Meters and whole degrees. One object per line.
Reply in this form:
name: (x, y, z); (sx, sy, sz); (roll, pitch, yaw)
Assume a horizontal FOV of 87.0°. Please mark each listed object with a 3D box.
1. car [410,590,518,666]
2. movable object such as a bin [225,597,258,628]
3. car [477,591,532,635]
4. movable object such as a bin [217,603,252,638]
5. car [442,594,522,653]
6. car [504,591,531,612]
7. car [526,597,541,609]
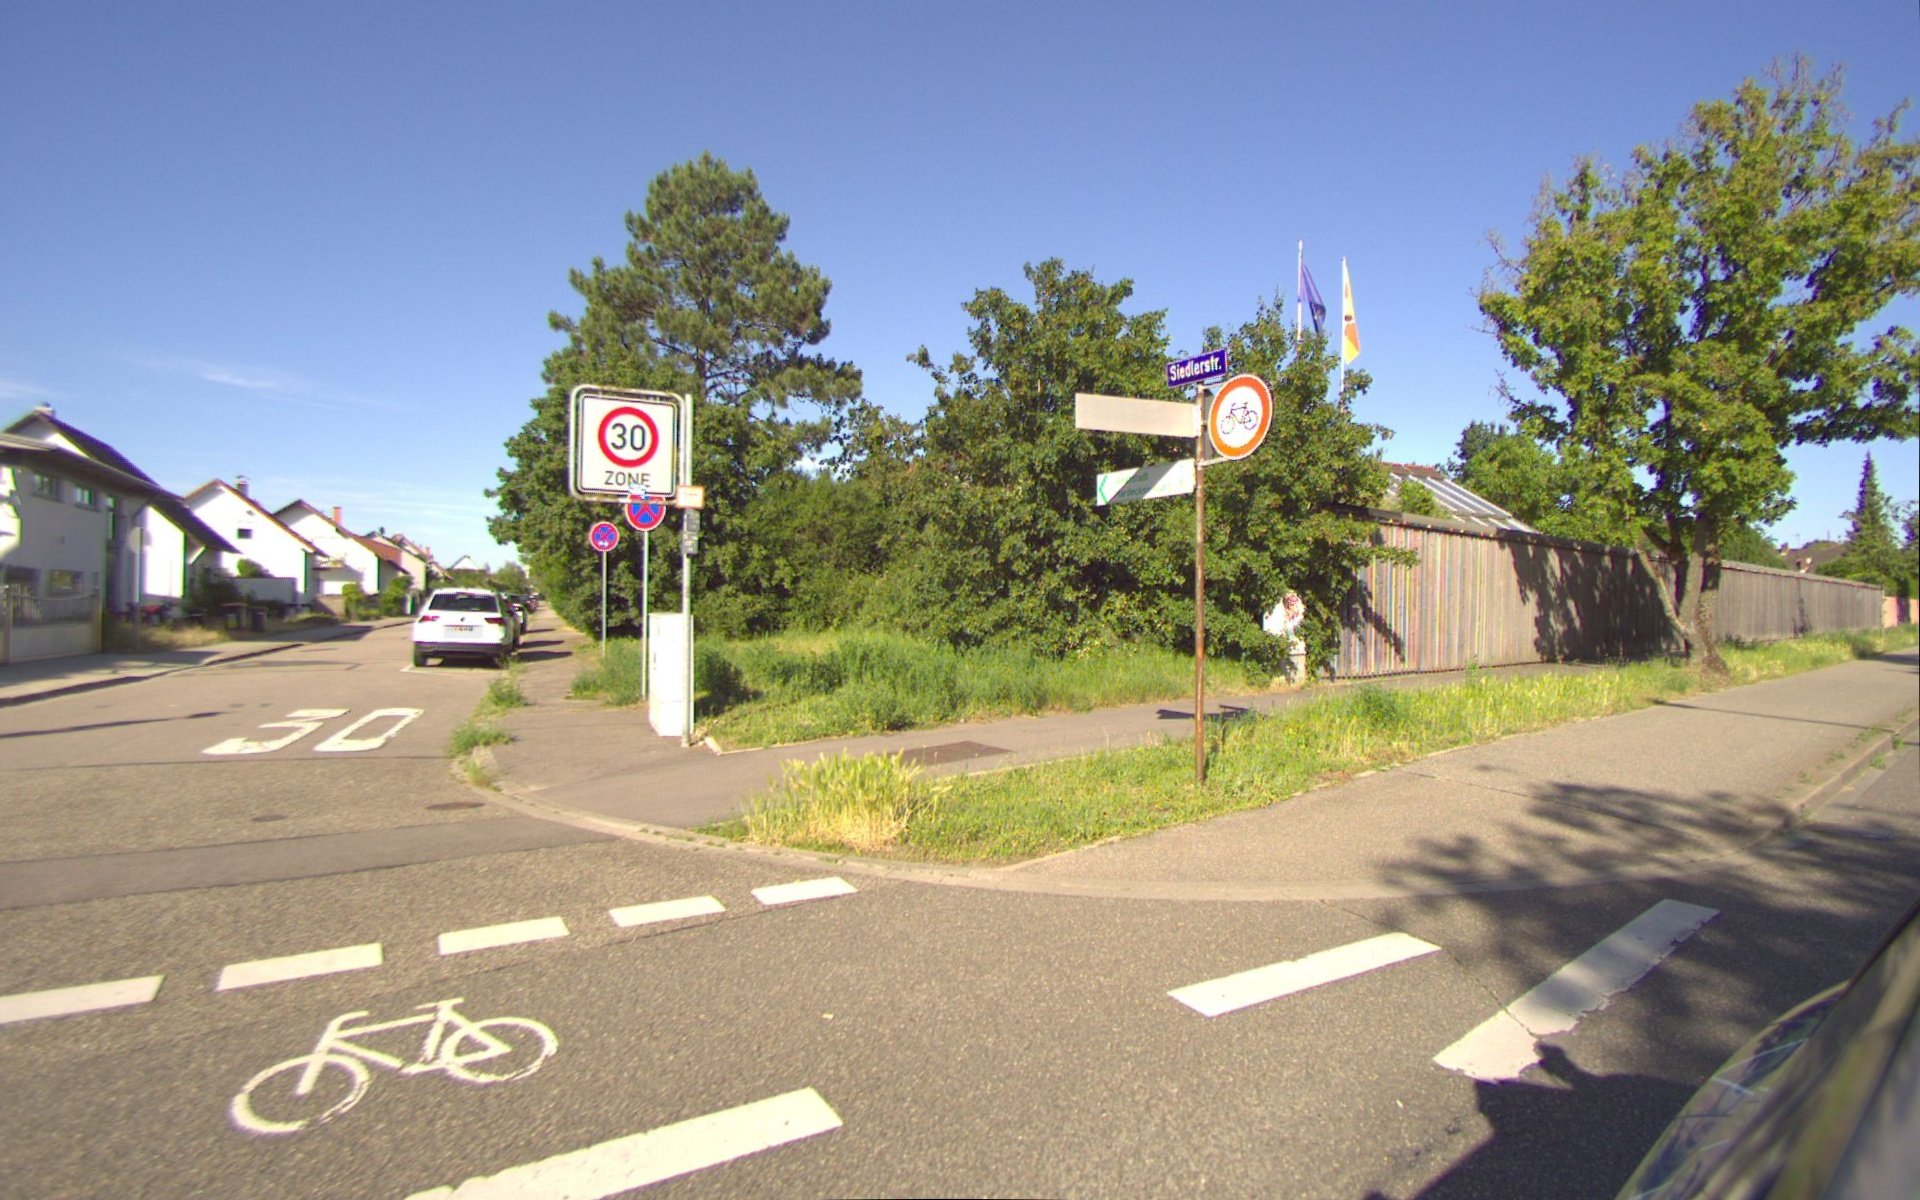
car: (-10.650, 0.640, 21.976); (1.805, 1.503, 3.931); (2, -3, -22)
movable object such as a bin: (-24.386, 0.425, 34.367); (0.817, 1.047, 0.813); (0, -2, -29)
car: (-17.255, 0.467, 38.464); (1.745, 1.596, 3.758); (1, 0, -22)
movable object such as a bin: (-23.459, 0.665, 32.732); (0.817, 1.095, 0.928); (0, -2, -29)
car: (-13.006, 0.598, 27.706); (1.745, 1.503, 3.758); (1, 0, -22)
car: (-37.902, 0.156, 86.723); (1.872, 1.559, 3.939); (2, -3, -21)
car: (-61.159, 0.473, 145.167); (1.872, 1.559, 3.939); (2, -3, -21)
